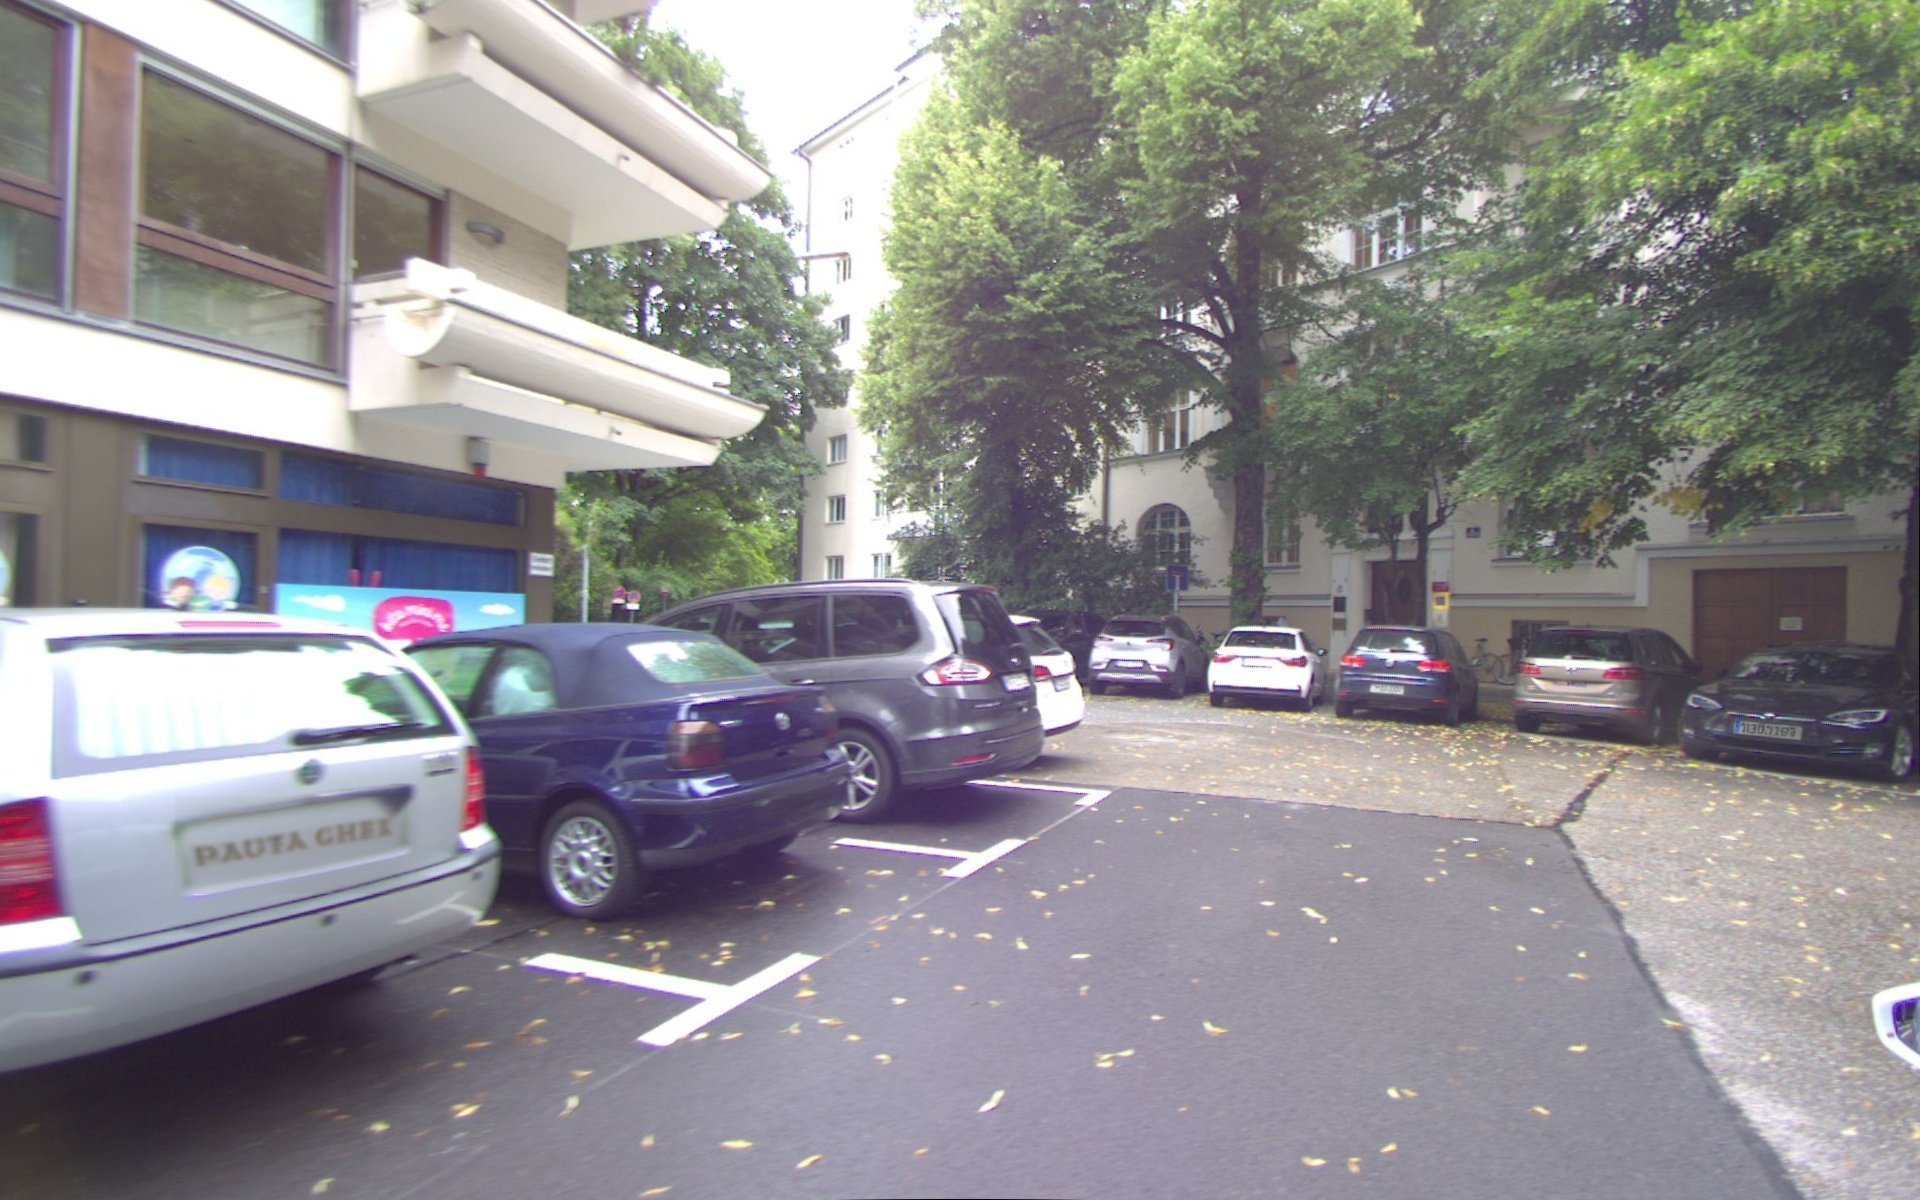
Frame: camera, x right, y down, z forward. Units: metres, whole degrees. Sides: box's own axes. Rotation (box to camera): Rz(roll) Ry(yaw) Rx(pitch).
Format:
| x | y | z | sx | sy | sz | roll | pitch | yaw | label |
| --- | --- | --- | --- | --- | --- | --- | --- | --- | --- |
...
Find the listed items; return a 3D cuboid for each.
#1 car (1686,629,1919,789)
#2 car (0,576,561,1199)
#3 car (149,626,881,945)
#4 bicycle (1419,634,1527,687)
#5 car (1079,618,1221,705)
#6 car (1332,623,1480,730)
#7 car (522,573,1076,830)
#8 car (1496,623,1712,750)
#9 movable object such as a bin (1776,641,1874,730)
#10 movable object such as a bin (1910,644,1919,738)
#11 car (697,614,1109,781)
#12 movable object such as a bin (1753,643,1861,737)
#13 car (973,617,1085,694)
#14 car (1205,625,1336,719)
| x | y | z | sx | sy | sz | roll | pitch | yaw | label |
| --- | --- | --- | --- | --- | --- | --- | --- | --- | --- |
| 10.348 | 1.237 | 11.827 | 4.250 | 1.486 | 1.691 | 5 | -1 | -37 | car |
| -3.722 | 0.763 | 3.735 | 4.160 | 1.474 | 1.720 | -2 | -2 | 23 | car |
| -2.646 | 0.875 | 5.973 | 3.994 | 1.385 | 1.717 | -1 | -2 | 23 | car |
| 12.124 | 1.407 | 23.812 | 0.571 | 1.130 | 2.211 | 2 | 0 | -38 | bicycle |
| 3.971 | 1.168 | 20.460 | 1.840 | 1.530 | 3.996 | 2 | -1 | 26 | car |
| 7.397 | 1.146 | 16.445 | 1.765 | 1.450 | 3.993 | 2 | -1 | 30 | car |
| -1.308 | 0.739 | 8.321 | 4.152 | 1.706 | 1.902 | -1 | -2 | 22 | car |
| 9.558 | 1.179 | 14.778 | 3.999 | 1.550 | 1.820 | 3 | -1 | -45 | car |
| 14.562 | 1.408 | 16.919 | 0.857 | 1.366 | 1.108 | 1 | 0 | -41 | movable object such as a bin |
| 14.774 | 1.359 | 14.979 | 1.362 | 1.365 | 0.707 | 2 | -1 | -39 | movable object such as a bin |
| -0.585 | 0.964 | 10.598 | 3.923 | 1.498 | 1.835 | -2 | -2 | 22 | car |
| 13.587 | 1.410 | 16.119 | 1.147 | 1.366 | 1.140 | 1 | 0 | -41 | movable object such as a bin |
| 1.586 | 1.120 | 21.588 | 2.021 | 1.420 | 4.003 | 2 | -1 | 9 | car |
| 5.745 | 1.206 | 18.289 | 1.692 | 1.450 | 3.996 | 2 | -1 | 26 | car |
